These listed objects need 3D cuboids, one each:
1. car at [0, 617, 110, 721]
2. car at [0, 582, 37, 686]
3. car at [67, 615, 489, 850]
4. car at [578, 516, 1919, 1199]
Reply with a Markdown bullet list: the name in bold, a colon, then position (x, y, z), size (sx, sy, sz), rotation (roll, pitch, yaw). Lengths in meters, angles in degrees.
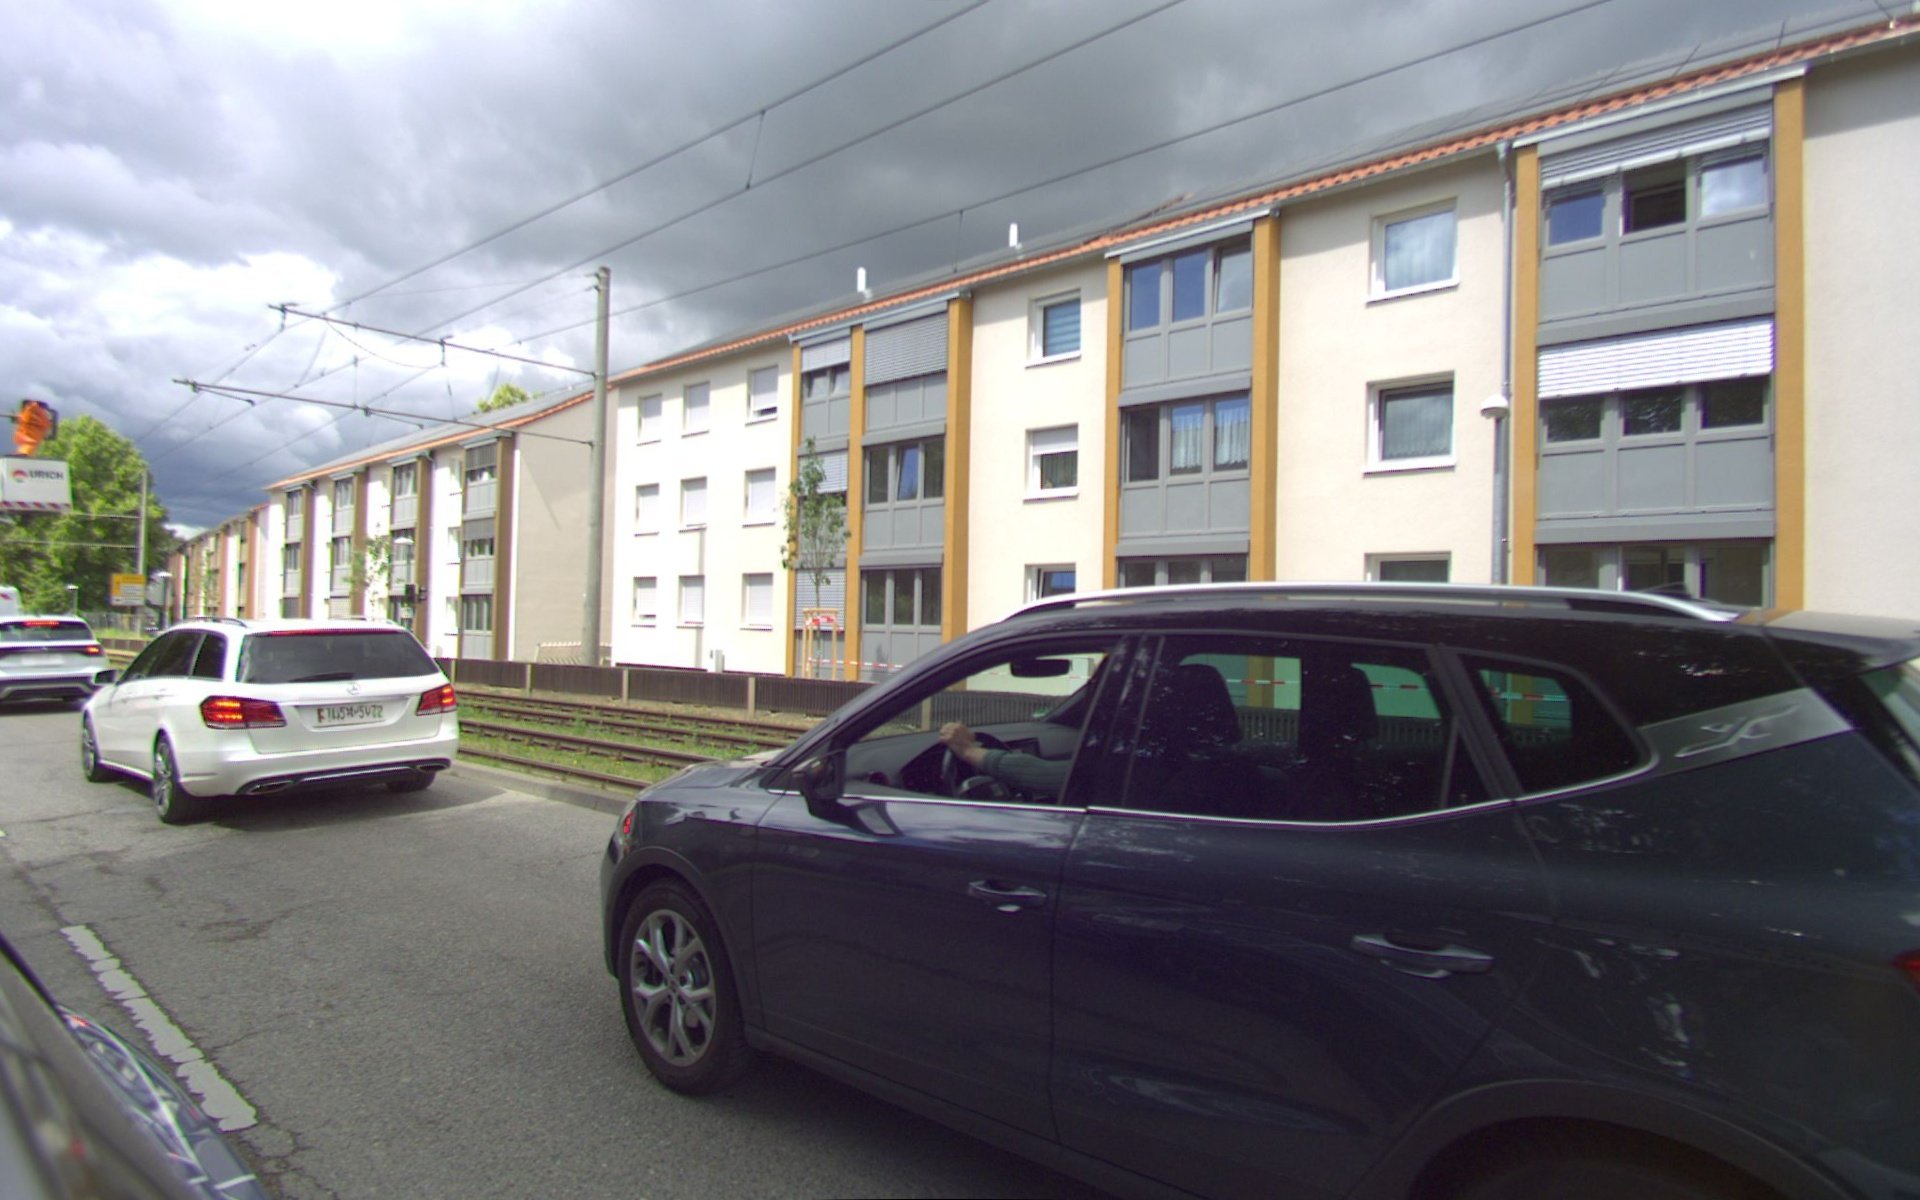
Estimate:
- **car**: position (-15.819, 1.085, 17.032), size (3.915, 1.564, 1.700), rotation (-1, -1, 41)
- **car**: position (-25.214, 0.859, 25.542), size (6.316, 2.449, 1.973), rotation (-1, -2, 40)
- **car**: position (-6.002, 0.898, 8.671), size (4.525, 1.492, 1.860), rotation (-1, -1, 40)
- **car**: position (0.718, 0.696, 2.707), size (3.863, 1.532, 1.633), rotation (-1, -2, 41)
